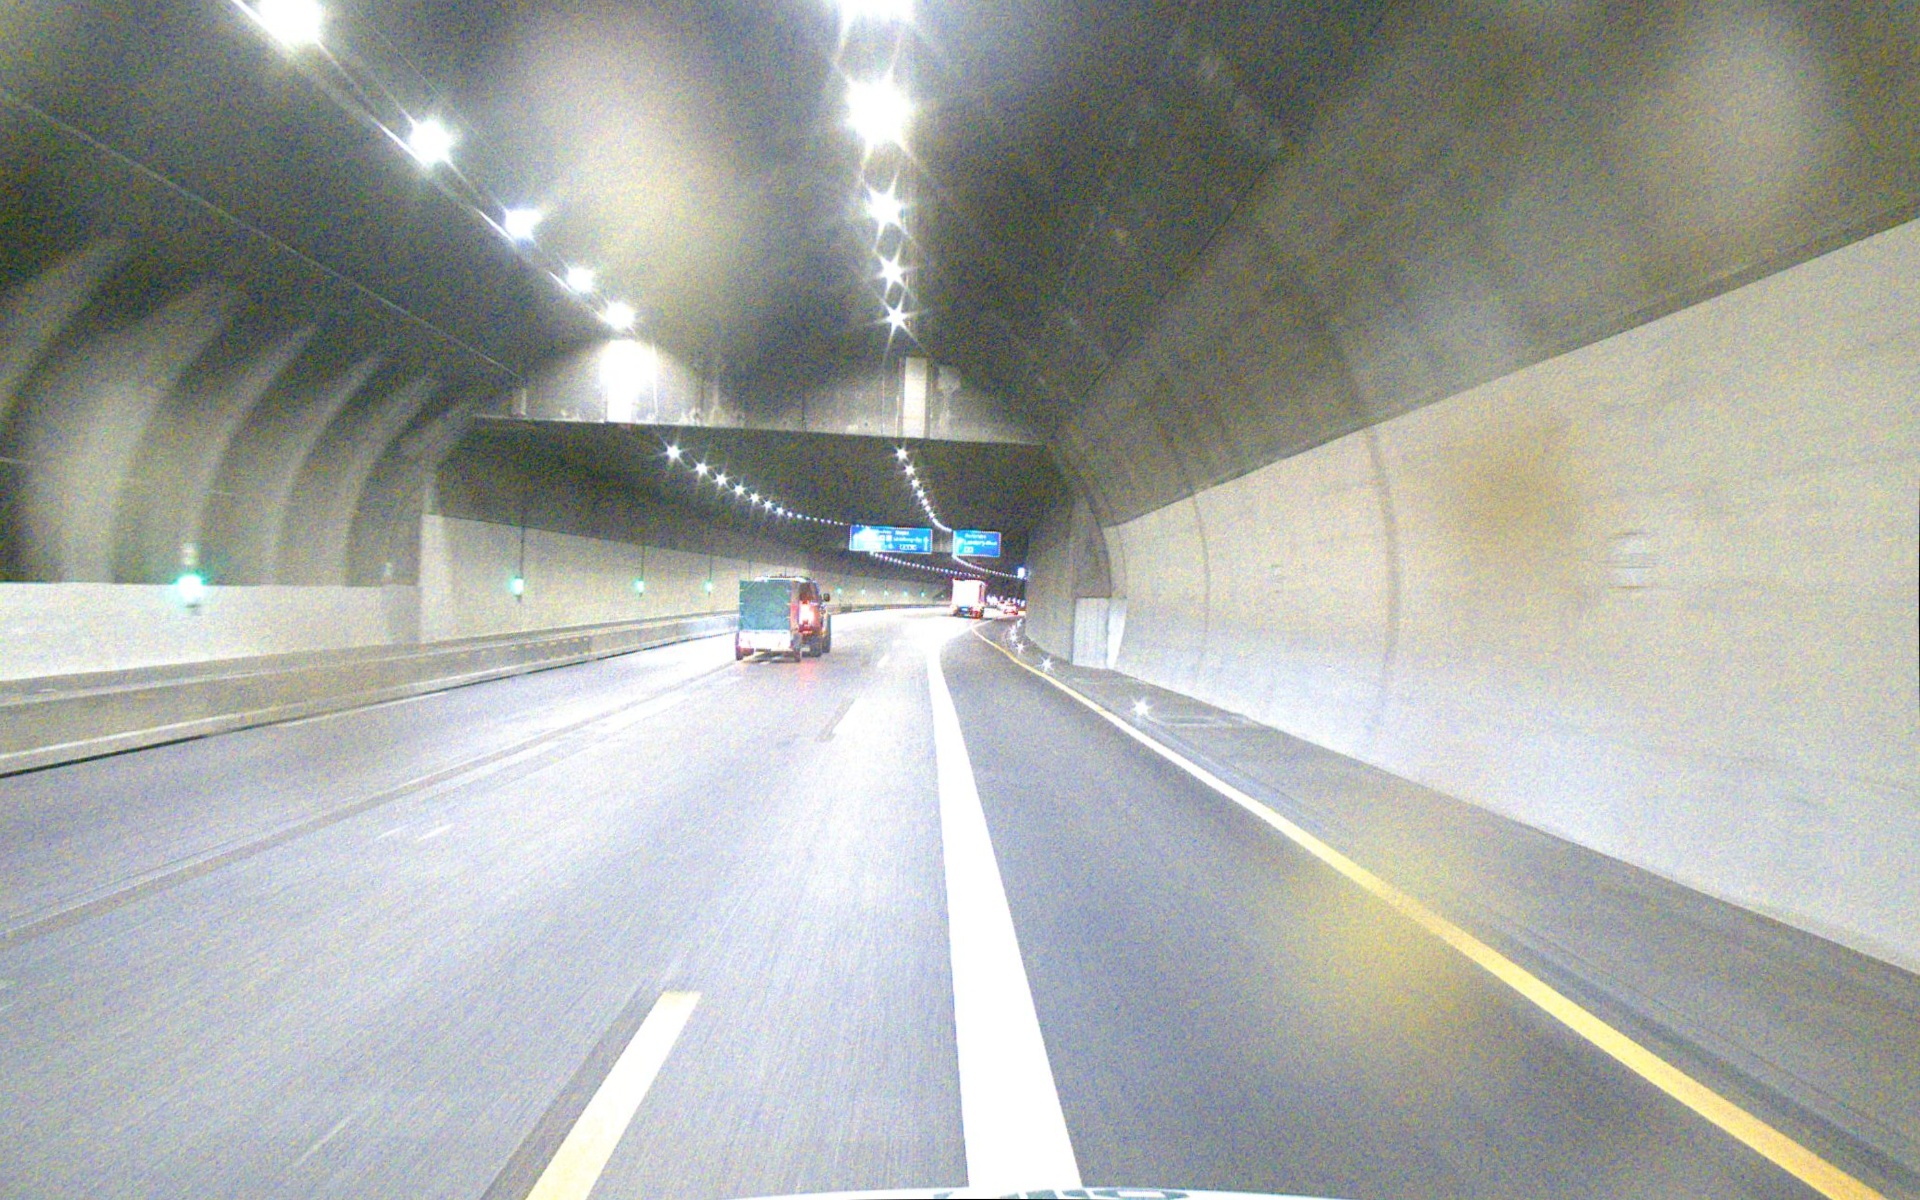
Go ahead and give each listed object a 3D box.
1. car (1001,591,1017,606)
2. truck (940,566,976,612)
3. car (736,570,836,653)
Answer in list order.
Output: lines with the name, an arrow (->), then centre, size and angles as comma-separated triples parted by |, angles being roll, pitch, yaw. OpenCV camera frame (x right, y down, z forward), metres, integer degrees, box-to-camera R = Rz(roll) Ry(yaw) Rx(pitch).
car -> 6.627, -0.206, 223.094 | 1.951, 1.928, 5.535 | 0, 1, 4
truck -> -0.256, -1.164, 162.620 | 3.403, 4.391, 10.951 | 1, 1, -1
car -> -4.276, 0.348, 41.456 | 1.953, 1.928, 5.452 | 0, -2, 0
